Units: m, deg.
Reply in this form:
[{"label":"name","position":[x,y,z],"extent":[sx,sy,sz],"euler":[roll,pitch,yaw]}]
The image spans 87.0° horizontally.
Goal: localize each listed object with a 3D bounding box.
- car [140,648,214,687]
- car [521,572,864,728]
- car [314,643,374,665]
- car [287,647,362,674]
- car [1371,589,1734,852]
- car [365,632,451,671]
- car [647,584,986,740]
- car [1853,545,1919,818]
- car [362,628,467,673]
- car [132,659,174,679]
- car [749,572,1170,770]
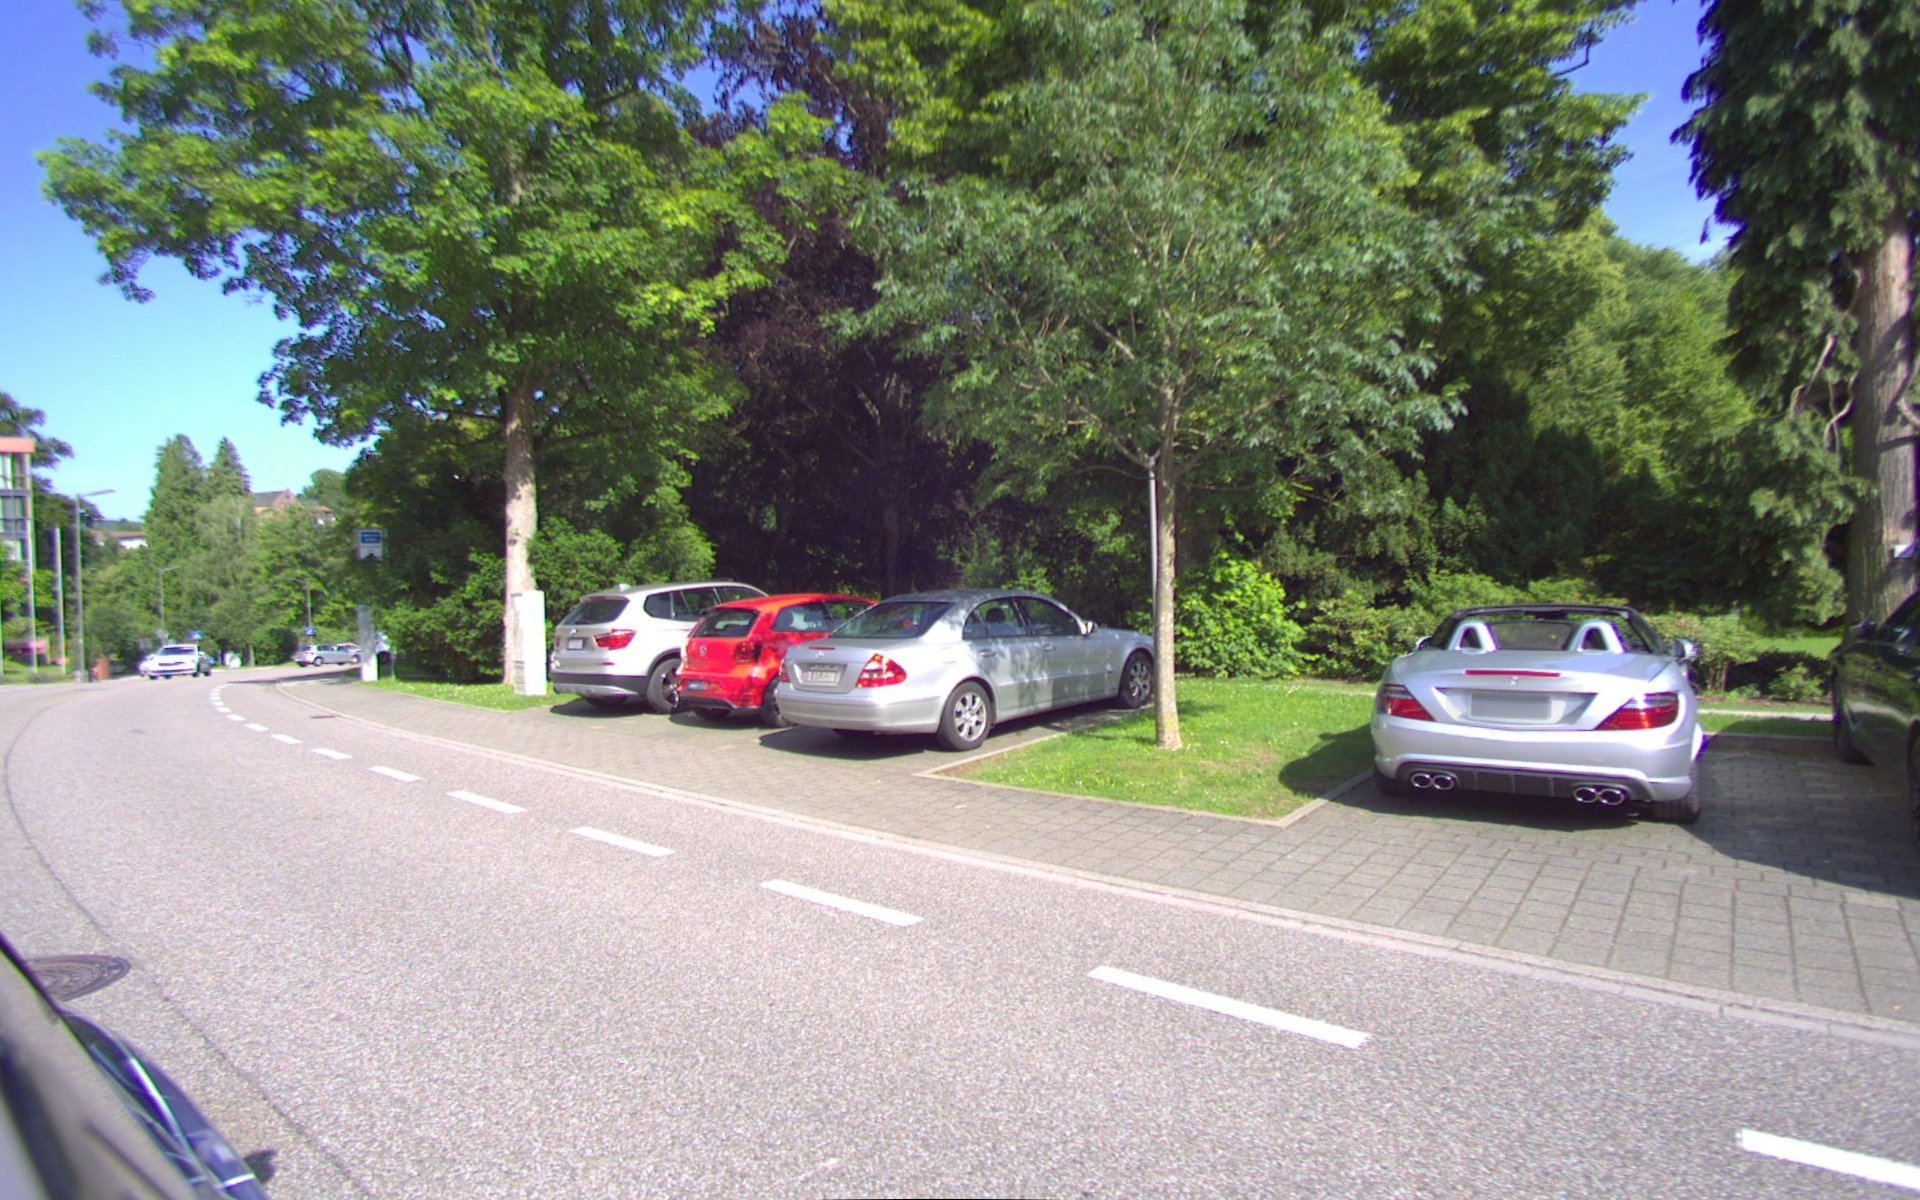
[{"label":"car","position":[-33.607,2.866,43.557],"extent":[1.711,1.508,3.942],"euler":[-1,-2,-25]},{"label":"car","position":[-3.576,0.551,14.298],"extent":[1.808,1.675,4.440],"euler":[-1,3,39]},{"label":"car","position":[-51.020,4.430,83.846],"extent":[1.514,1.488,3.948],"euler":[-5,-2,39]},{"label":"car","position":[-42.763,4.048,68.176],"extent":[1.510,1.408,3.961],"euler":[-5,-1,29]},{"label":"car","position":[4.348,0.619,7.263],"extent":[1.759,1.252,3.761],"euler":[-1,1,35]},{"label":"car","position":[-26.108,2.412,47.973],"extent":[3.433,1.557,1.448],"euler":[-4,-1,-27]},{"label":"car","position":[-1.634,0.633,12.578],"extent":[1.720,1.443,3.945],"euler":[-1,3,42]},{"label":"car","position":[6.155,0.452,5.295],"extent":[1.709,1.521,4.455],"euler":[-2,2,35]},{"label":"car","position":[-22.041,2.033,41.016],"extent":[3.626,1.498,1.571],"euler":[-4,-1,-27]},{"label":"car","position":[-62.508,5.324,78.338],"extent":[3.996,1.408,1.719],"euler":[-2,0,39]},{"label":"car","position":[0.212,0.541,10.511],"extent":[1.810,1.428,4.435],"euler":[0,3,43]}]
